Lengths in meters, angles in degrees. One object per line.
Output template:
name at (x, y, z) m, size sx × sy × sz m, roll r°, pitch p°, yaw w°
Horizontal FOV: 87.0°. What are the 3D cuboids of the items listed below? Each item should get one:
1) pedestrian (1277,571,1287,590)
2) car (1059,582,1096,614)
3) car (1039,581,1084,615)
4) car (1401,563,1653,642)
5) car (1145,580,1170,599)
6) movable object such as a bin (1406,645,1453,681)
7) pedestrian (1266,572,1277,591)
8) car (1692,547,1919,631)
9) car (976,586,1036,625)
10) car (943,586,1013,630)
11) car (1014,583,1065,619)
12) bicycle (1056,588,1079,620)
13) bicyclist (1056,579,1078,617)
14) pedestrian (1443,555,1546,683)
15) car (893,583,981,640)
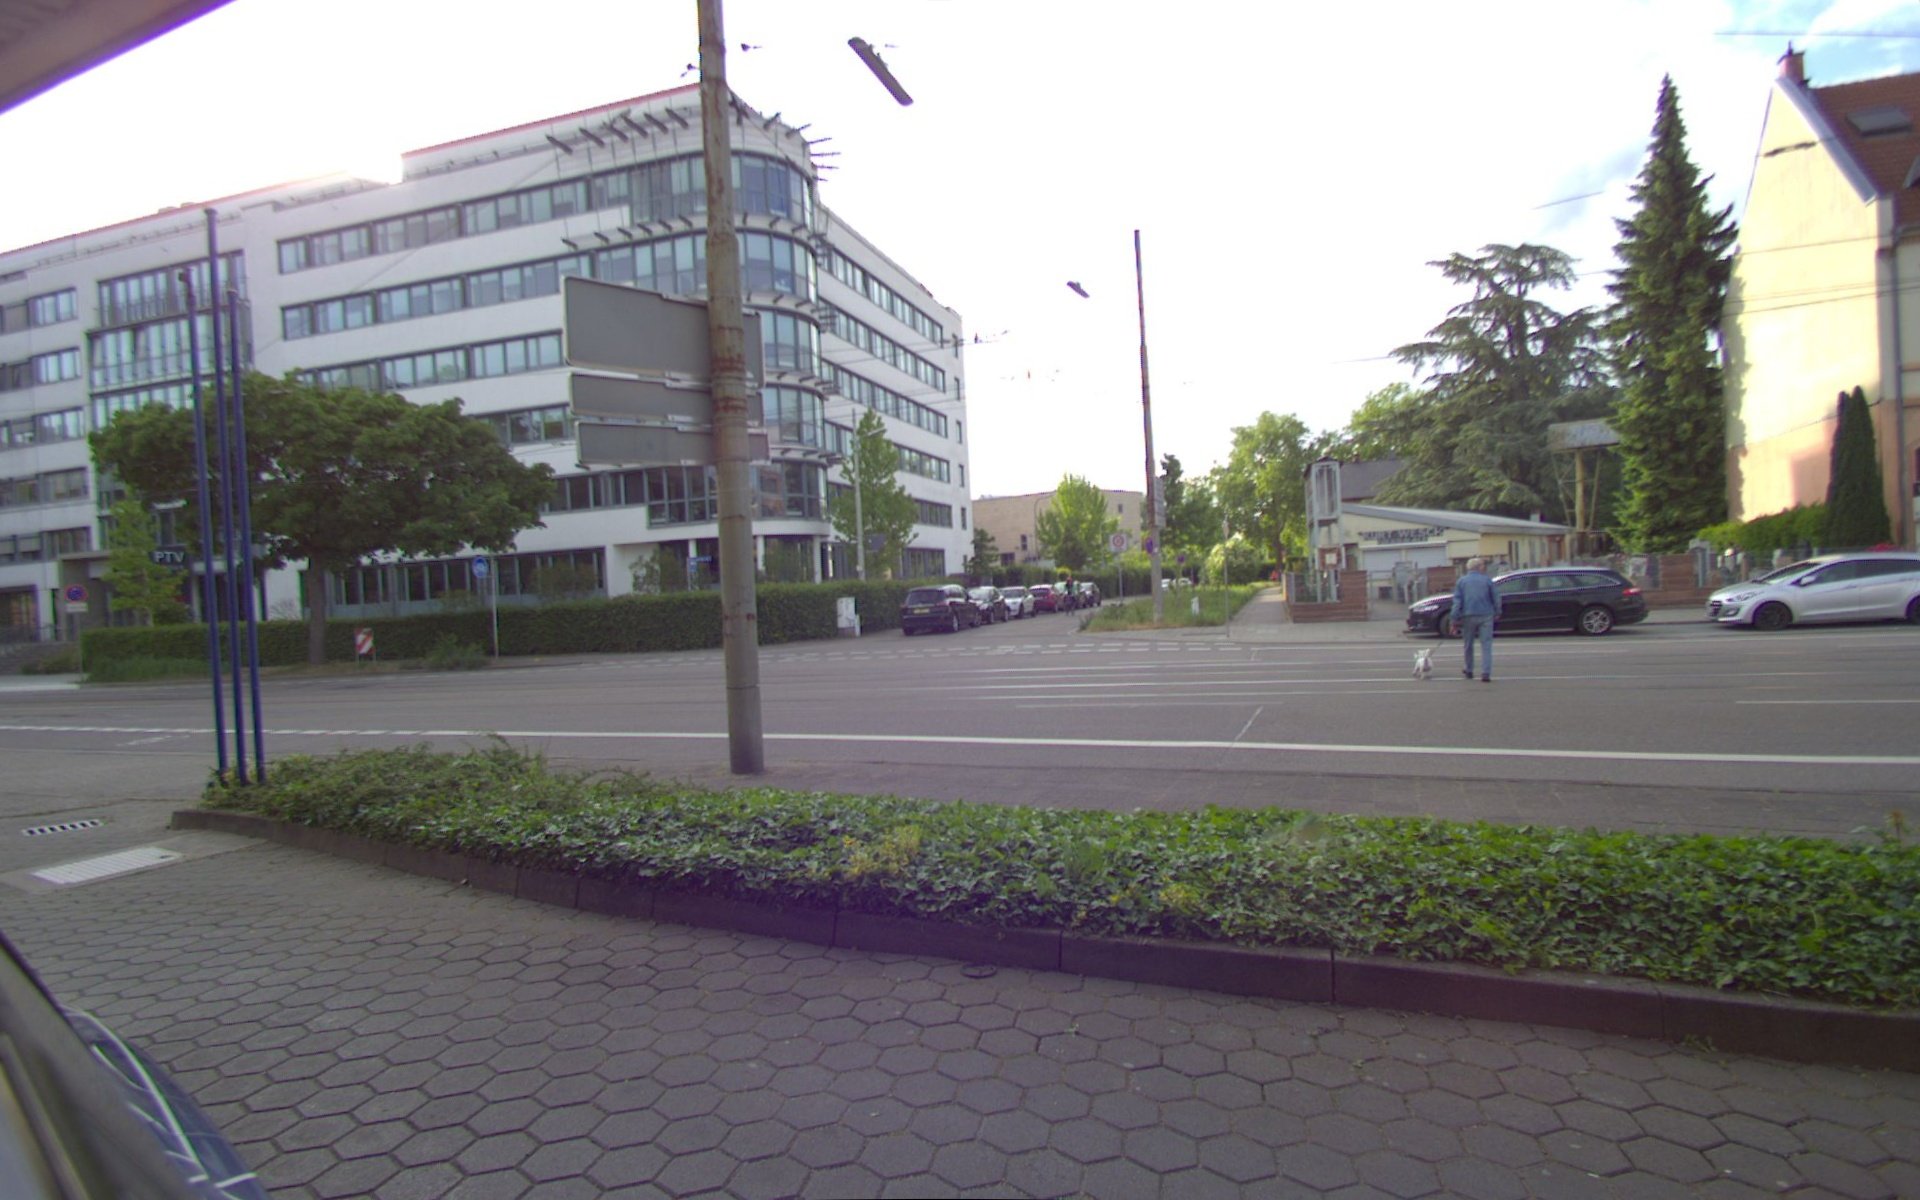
pedestrian at (31.804, -1.900, 99.942) m, size 0.899 × 1.865 × 0.942 m, roll -3°, pitch -1°, yaw 20°
car at (7.289, -0.158, 62.496) m, size 1.731 × 1.748 × 4.030 m, roll -3°, pitch 0°, yaw 13°
car at (5.835, -0.149, 57.722) m, size 1.929 × 1.748 × 4.512 m, roll -3°, pitch 0°, yaw 13°
car at (12.912, 0.054, 23.444) m, size 4.742 × 1.511 × 2.001 m, roll -3°, pitch 1°, yaw 21°
car at (19.699, -1.078, 100.793) m, size 1.849 × 1.748 × 4.247 m, roll -3°, pitch 0°, yaw 19°
movable object such as a bin at (6.772, 0.902, 14.609) m, size 0.476 × 0.424 × 0.677 m, roll -3°, pitch 2°, yaw 15°
pedestrian at (30.809, -1.825, 100.165) m, size 0.899 × 1.865 × 0.942 m, roll -3°, pitch -1°, yaw 20°
car at (18.423, -0.245, 21.383) m, size 4.424 × 1.494 × 1.713 m, roll -3°, pitch 1°, yaw 21°
car at (2.142, 0.214, 45.788) m, size 1.929 × 1.530 × 4.274 m, roll -3°, pitch 0°, yaw 13°
car at (0.794, 0.290, 40.977) m, size 1.929 × 1.551 × 4.274 m, roll -3°, pitch 0°, yaw 13°
car at (4.176, 0.023, 52.493) m, size 1.929 × 1.650 × 4.274 m, roll -3°, pitch 0°, yaw 13°
bicycle at (4.937, 0.175, 46.410) m, size 0.857 × 1.320 × 1.913 m, roll -3°, pitch 3°, yaw 11°
bicyclist at (4.896, -0.104, 46.314) m, size 0.857 × 1.617 × 1.025 m, roll -3°, pitch 3°, yaw 12°
pedestrian at (7.395, 0.245, 14.056) m, size 0.995 × 1.680 × 0.966 m, roll -3°, pitch 2°, yaw 15°
car at (-0.725, 0.359, 35.417) m, size 1.994 × 1.704 × 4.274 m, roll -3°, pitch 1°, yaw 13°
